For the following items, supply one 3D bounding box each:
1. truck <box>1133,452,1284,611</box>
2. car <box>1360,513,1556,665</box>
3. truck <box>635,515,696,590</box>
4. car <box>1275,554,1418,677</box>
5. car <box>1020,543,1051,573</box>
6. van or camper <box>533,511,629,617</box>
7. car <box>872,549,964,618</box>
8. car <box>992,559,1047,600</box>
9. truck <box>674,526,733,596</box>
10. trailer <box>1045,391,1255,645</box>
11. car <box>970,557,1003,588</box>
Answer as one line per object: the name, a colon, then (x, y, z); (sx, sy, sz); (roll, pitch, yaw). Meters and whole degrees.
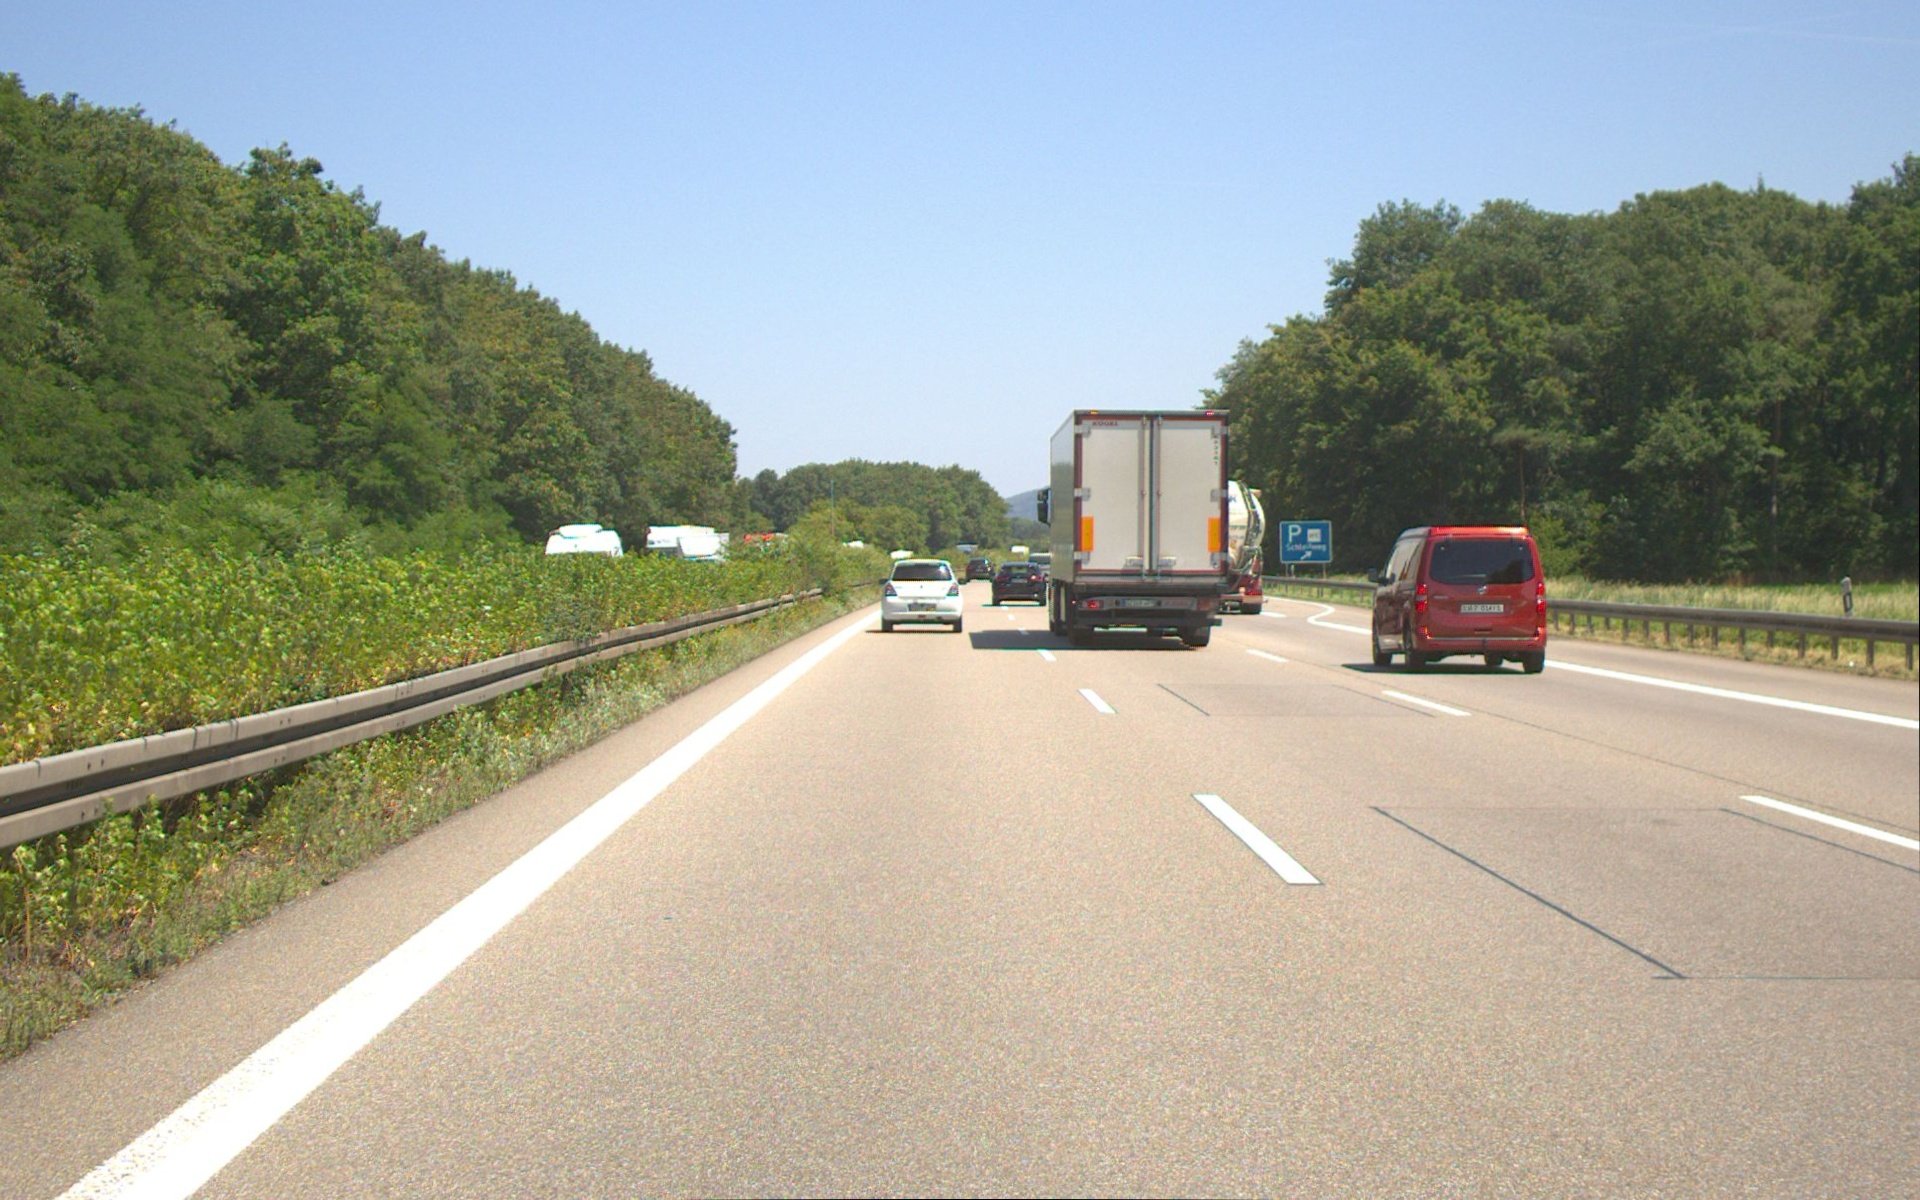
truck: (7.108, -1.968, 99.925); (3.223, 4.330, 10.808); (-1, 1, -2)
car: (6.940, -0.184, 48.456); (1.855, 1.996, 5.522); (1, 1, -1)
truck: (-16.374, -2.651, 191.474); (2.834, 4.020, 4.185); (-2, 1, 1)
car: (6.577, 0.232, 58.925); (1.993, 2.007, 4.000); (0, 1, 0)
car: (4.425, -2.488, 201.957); (1.668, 1.759, 4.000); (-1, 1, -1)
van or camper: (-10.540, -1.031, 96.055); (1.993, 2.836, 7.001); (-1, 1, -1)
car: (-0.902, -0.358, 71.937); (1.811, 1.400, 3.318); (-1, 1, -2)
car: (1.955, -0.695, 113.669); (1.668, 1.285, 4.000); (-1, 1, -1)
truck: (-12.901, -1.974, 173.118); (2.410, 3.342, 7.001); (-3, 1, -1)
trailer: (3.272, -1.448, 62.577); (3.223, 4.129, 12.352); (-1, 1, 1)
car: (1.767, -1.824, 228.423); (2.107, 2.007, 4.000); (1, 1, -1)
